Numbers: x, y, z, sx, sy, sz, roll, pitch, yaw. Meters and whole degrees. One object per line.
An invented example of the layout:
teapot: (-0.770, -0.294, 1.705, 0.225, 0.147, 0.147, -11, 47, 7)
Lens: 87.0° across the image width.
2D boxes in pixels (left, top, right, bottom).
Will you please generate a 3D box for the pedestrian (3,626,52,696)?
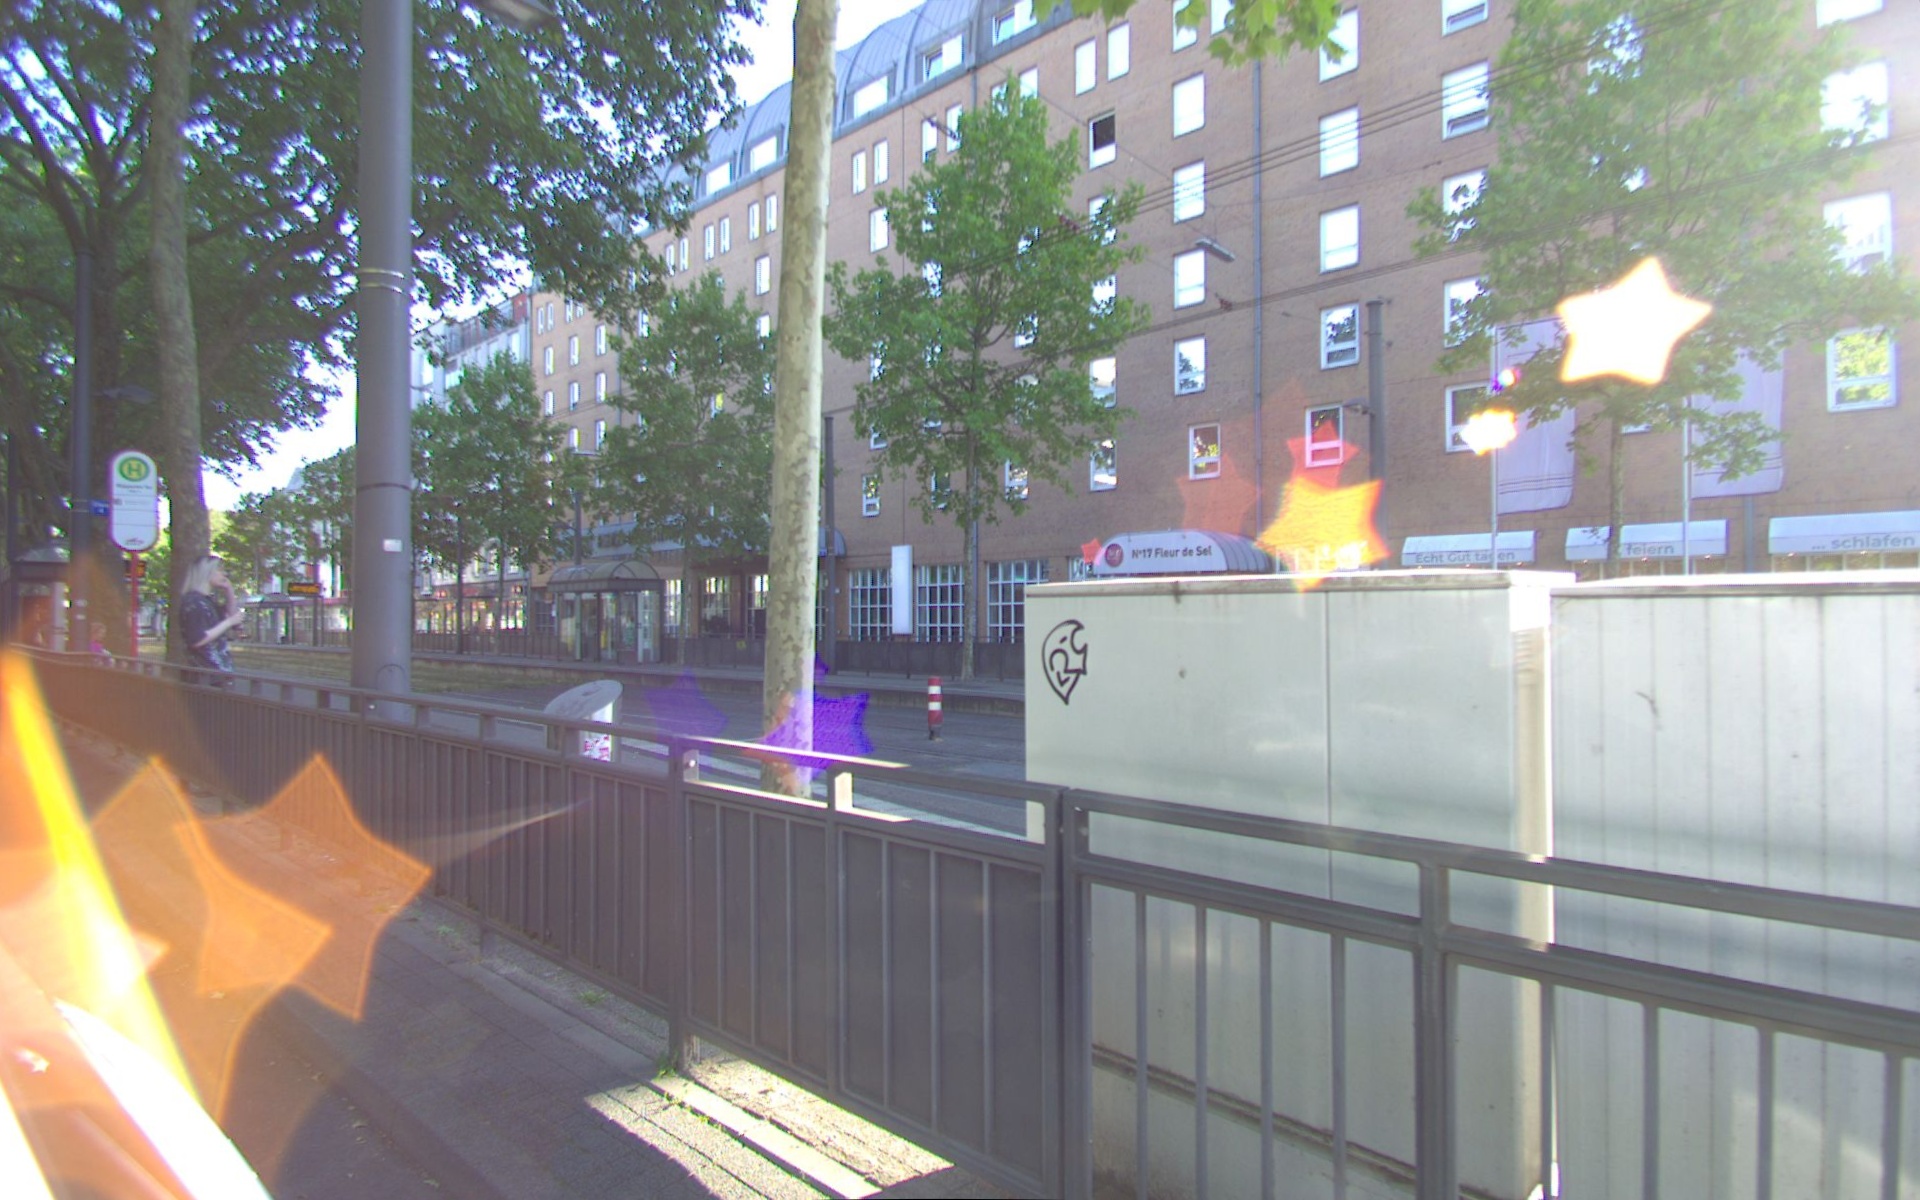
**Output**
pedestrian: (-19.399, 1.259, 21.049, 0.725, 1.398, 0.641, -1, 0, -44)

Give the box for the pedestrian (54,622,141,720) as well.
pedestrian: (-13.228, 1.061, 15.521, 0.965, 1.410, 0.665, -1, 0, -44)

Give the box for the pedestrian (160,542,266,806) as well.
pedestrian: (-5.750, 0.537, 7.783, 0.759, 1.914, 0.504, -1, 0, 42)

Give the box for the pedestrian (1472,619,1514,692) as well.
pedestrian: (12.189, 1.257, 23.151, 0.725, 1.596, 0.583, -1, 0, 40)
